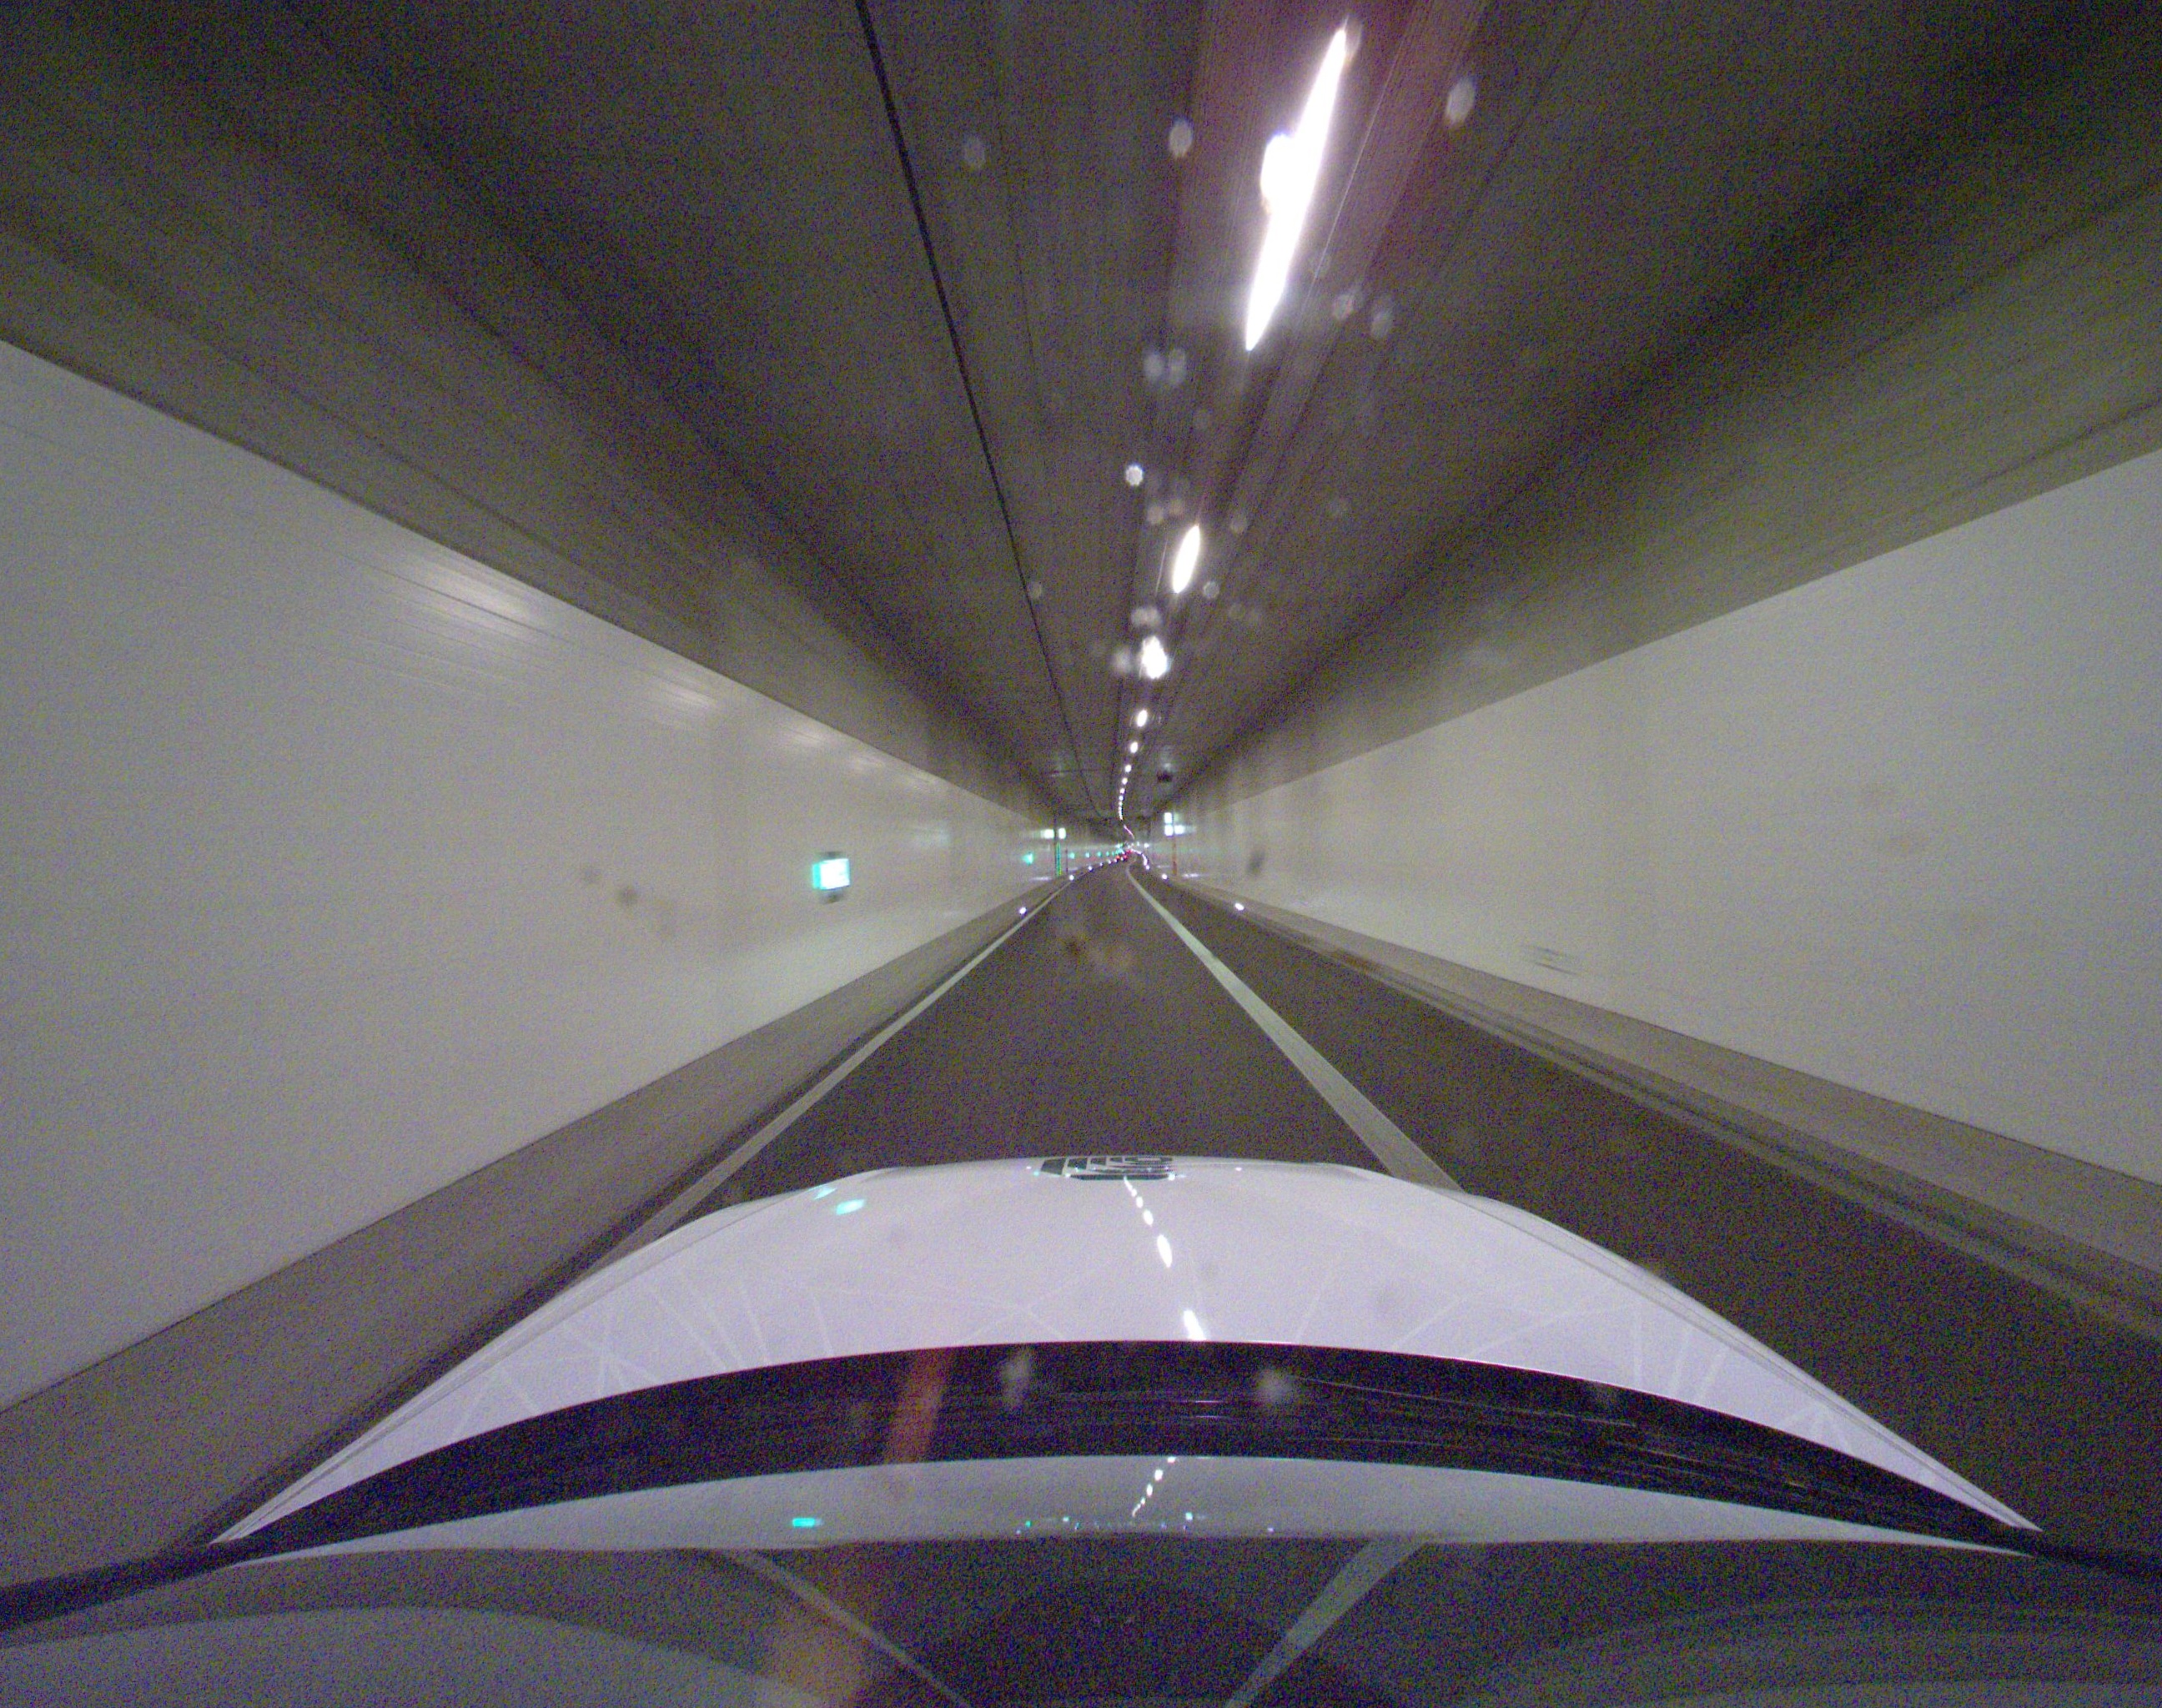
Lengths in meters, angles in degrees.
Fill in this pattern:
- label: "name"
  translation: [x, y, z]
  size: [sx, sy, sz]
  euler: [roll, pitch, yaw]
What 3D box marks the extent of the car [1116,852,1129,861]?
- label: "car"
  translation: [6.767, 0.330, 133.901]
  size: [1.986, 1.420, 4.002]
  euler: [-1, 0, 2]
